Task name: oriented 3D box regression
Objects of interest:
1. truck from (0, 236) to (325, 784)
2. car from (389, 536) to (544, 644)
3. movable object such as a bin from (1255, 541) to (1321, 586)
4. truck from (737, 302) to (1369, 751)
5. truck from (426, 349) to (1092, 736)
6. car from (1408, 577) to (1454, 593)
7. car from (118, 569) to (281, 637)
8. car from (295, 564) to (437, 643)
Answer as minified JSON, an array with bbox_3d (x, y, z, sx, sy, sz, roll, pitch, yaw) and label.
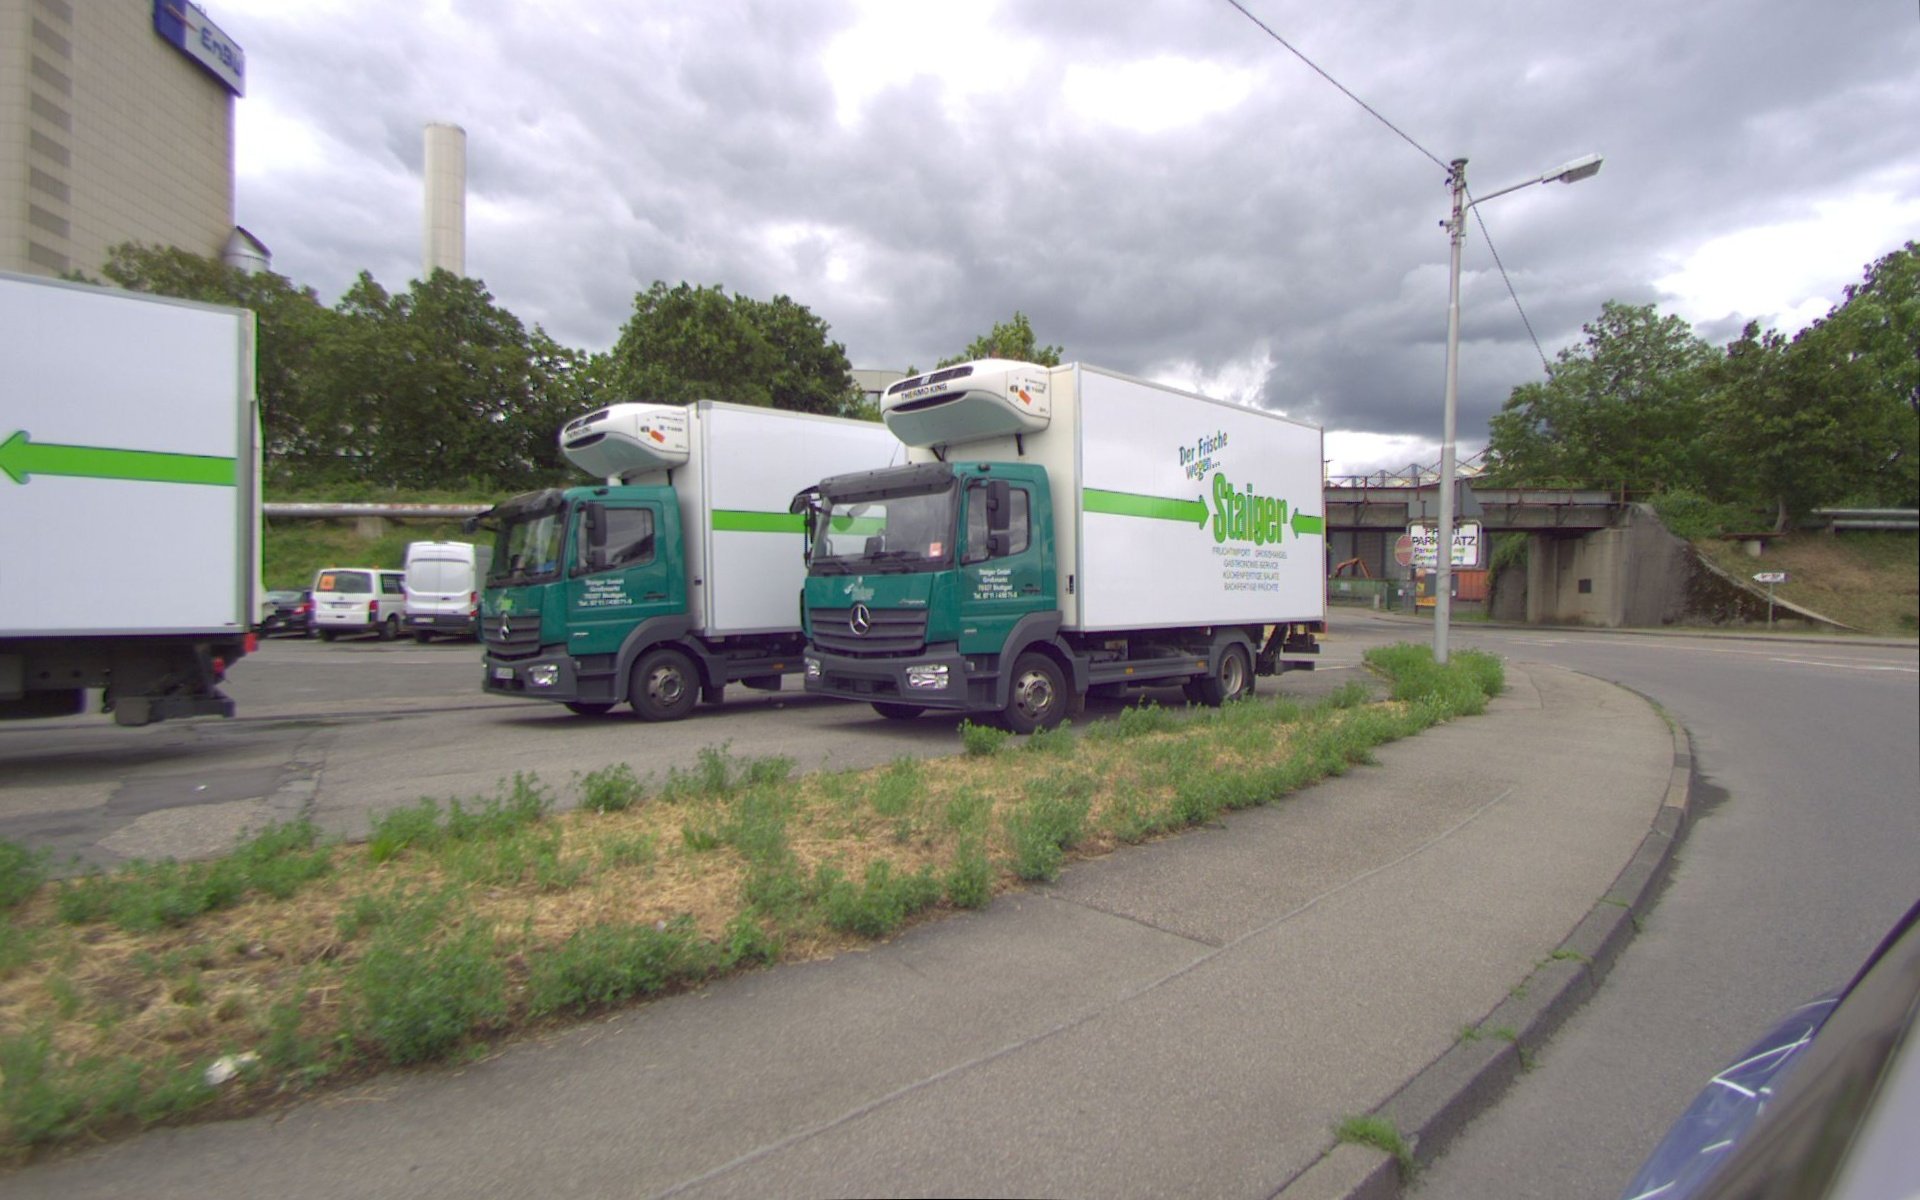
[{"bbox_3d":[-10.119,-0.623,6.189,10.253,3.880,2.983,0,-1,-42],"label":"truck"},{"bbox_3d":[-14.076,-0.330,29.325,1.984,2.813,5.906,0,1,-4],"label":"car"},{"bbox_3d":[31.432,-3.435,97.227,2.676,4.143,6.566,1,0,-18],"label":"movable object such as a bin"},{"bbox_3d":[1.752,-0.673,12.413,3.063,3.677,8.469,-1,0,44],"label":"truck"},{"bbox_3d":[-2.120,-0.568,13.675,8.465,3.678,3.063,-1,-2,-45],"label":"truck"},{"bbox_3d":[41.510,-1.331,89.264,1.702,1.391,4.008,0,1,-11],"label":"car"},{"bbox_3d":[-21.711,0.072,29.104,1.960,1.816,4.004,0,0,-5],"label":"car"},{"bbox_3d":[-16.769,0.049,28.806,1.960,2.076,4.005,0,1,-5],"label":"car"}]
